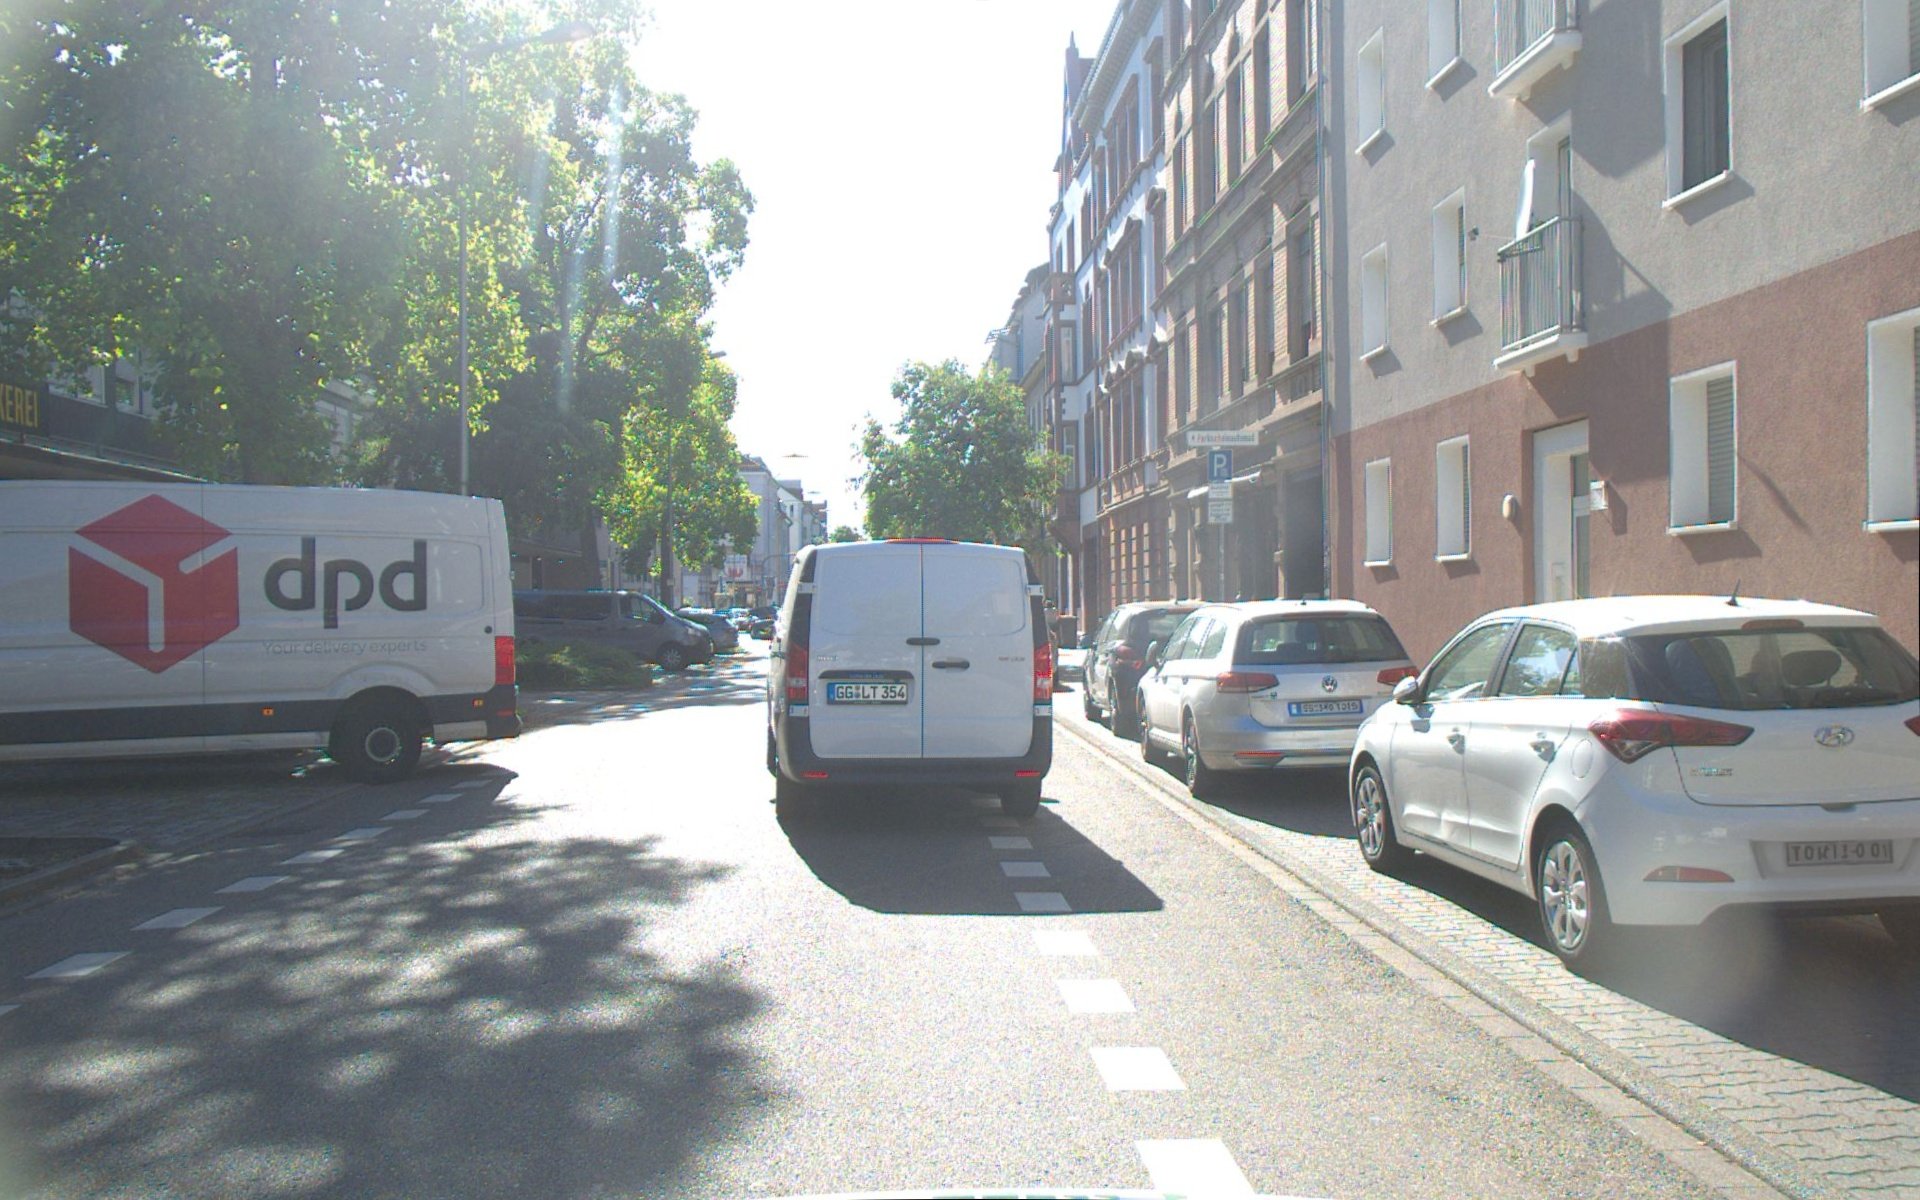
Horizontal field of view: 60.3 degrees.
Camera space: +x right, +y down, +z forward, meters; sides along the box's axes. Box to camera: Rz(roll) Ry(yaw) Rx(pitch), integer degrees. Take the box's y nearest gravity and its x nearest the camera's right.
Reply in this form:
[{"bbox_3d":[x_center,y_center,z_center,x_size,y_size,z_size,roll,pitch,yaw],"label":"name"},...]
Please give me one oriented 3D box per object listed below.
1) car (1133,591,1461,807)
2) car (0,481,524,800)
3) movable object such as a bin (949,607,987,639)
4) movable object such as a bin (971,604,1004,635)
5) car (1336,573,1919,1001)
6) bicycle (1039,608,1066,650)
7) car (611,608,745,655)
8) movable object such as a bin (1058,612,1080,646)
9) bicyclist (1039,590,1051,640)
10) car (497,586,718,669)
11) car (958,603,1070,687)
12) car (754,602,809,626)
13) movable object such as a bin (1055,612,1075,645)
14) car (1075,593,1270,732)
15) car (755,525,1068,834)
[{"bbox_3d":[2.653,0.714,14.095,1.749,1.485,4.515,-2,0,-1],"label":"car"},{"bbox_3d":[-7.286,0.315,14.376,6.507,2.517,1.982,-1,0,-28],"label":"car"},{"bbox_3d":[0.355,0.989,71.774,1.090,1.371,1.263,-2,0,44],"label":"movable object such as a bin"},{"bbox_3d":[1.216,0.865,73.056,1.020,1.371,1.105,-1,0,35],"label":"movable object such as a bin"},{"bbox_3d":[3.255,0.680,8.024,1.697,1.512,3.791,-2,0,-4],"label":"car"},{"bbox_3d":[2.807,0.885,50.256,0.526,1.168,2.123,-7,-1,-2],"label":"bicycle"},{"bbox_3d":[-9.492,1.053,55.965,4.218,1.486,1.762,1,0,-1],"label":"car"},{"bbox_3d":[3.621,0.956,54.835,0.625,1.087,0.639,-1,0,-4],"label":"movable object such as a bin"},{"bbox_3d":[2.577,0.463,50.068,0.353,1.503,0.530,0,-1,0],"label":"bicyclist"},{"bbox_3d":[-8.848,0.694,41.890,5.187,2.009,2.014,1,0,-4],"label":"car"},{"bbox_3d":[0.955,0.803,31.374,1.704,1.477,3.997,-1,0,-4],"label":"car"},{"bbox_3d":[-12.855,1.008,119.178,3.911,1.668,1.997,0,0,-7],"label":"car"},{"bbox_3d":[3.549,0.958,55.988,0.617,1.088,0.639,1,-1,-3],"label":"movable object such as a bin"},{"bbox_3d":[2.479,0.696,20.116,1.675,1.506,3.708,-1,0,-3],"label":"car"},{"bbox_3d":[-0.591,0.503,12.968,1.885,1.947,4.878,0,0,-8],"label":"car"}]
